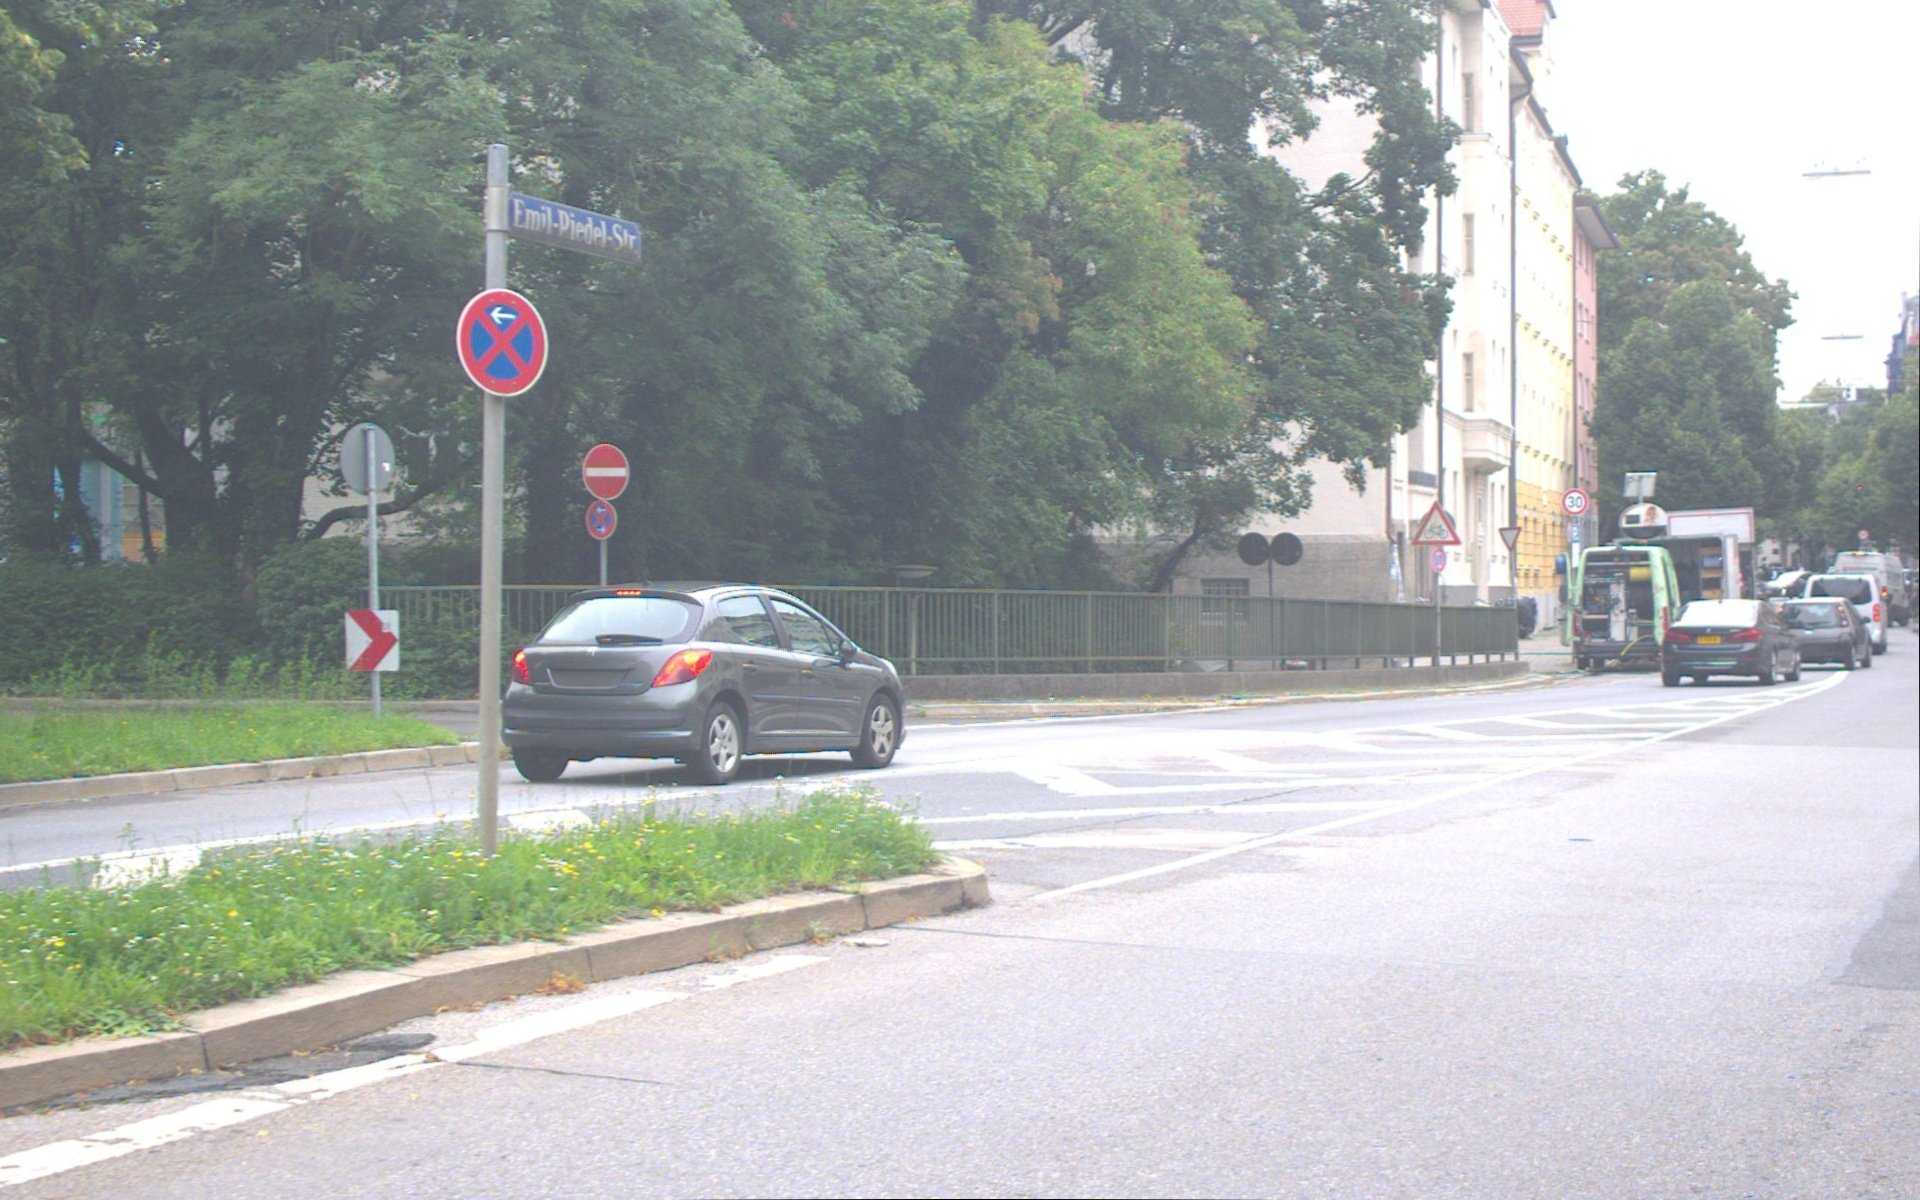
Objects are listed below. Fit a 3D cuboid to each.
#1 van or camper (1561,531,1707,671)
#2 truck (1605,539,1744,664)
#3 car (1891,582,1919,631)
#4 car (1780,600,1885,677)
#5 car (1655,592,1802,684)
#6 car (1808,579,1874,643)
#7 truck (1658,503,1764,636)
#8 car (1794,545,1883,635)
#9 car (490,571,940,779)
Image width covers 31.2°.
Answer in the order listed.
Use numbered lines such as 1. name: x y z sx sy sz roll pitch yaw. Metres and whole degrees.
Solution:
1. van or camper: 14.308 -0.034 72.683 2.602 2.830 6.181 0 1 15
2. truck: 17.271 -0.014 82.767 2.775 2.863 7.196 0 1 16
3. car: 29.909 0.186 106.646 1.991 1.424 4.137 0 1 15
4. car: 17.671 0.754 69.540 1.991 1.424 4.137 0 1 15
5. car: 13.213 0.615 58.916 1.992 1.424 4.901 0 1 18
6. car: 28.342 0.347 110.657 1.995 2.007 3.997 -1 0 14
7. truck: 23.020 -0.913 105.214 3.014 3.938 6.991 0 0 13
8. car: 20.826 -0.267 81.404 1.991 2.068 4.137 0 1 15
9. car: -1.774 0.530 26.307 1.761 1.456 4.069 0 0 23
